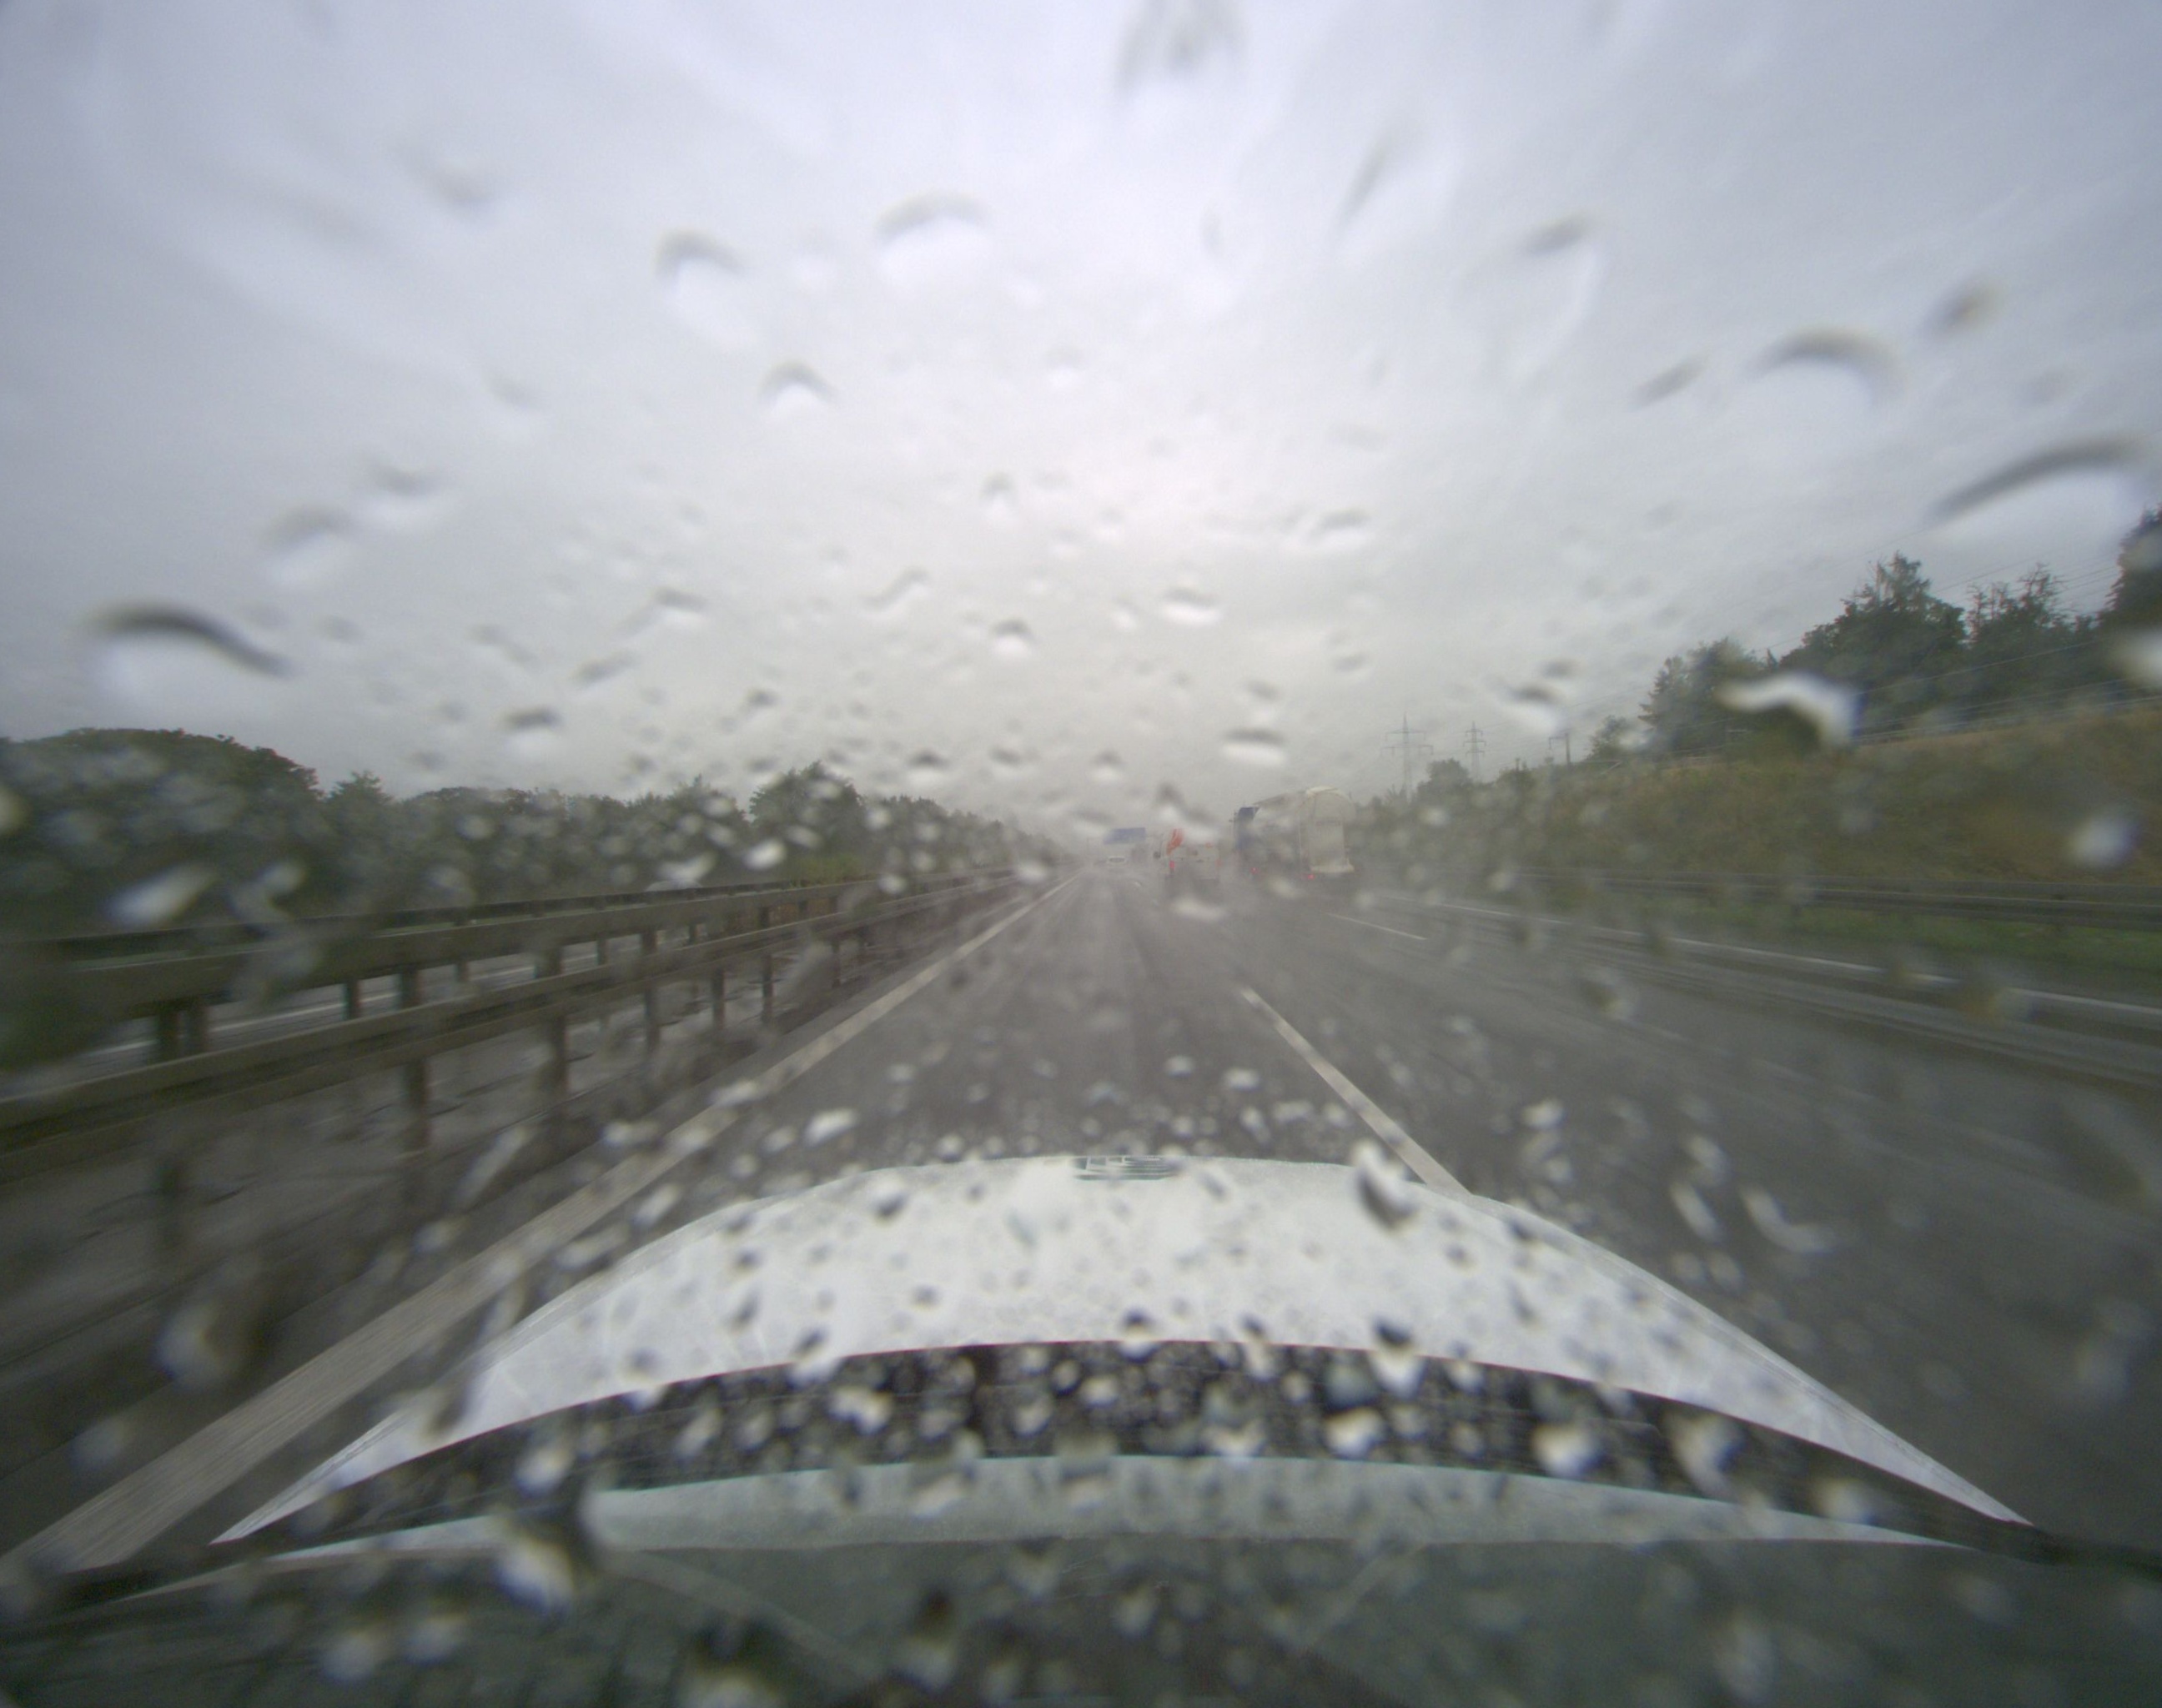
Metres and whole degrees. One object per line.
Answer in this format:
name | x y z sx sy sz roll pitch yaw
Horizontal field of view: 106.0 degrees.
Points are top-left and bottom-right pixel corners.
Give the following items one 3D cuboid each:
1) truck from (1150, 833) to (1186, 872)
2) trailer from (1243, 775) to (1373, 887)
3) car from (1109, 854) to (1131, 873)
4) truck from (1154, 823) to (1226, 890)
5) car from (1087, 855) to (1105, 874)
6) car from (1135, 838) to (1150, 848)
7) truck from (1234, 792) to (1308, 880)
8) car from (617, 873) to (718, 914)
truck | 10.952 -0.056 104.430 3.029 4.588 16.351 -1 -1 1
trailer | 8.993 -0.833 33.874 2.488 3.882 11.068 -1 0 1
car | 2.979 0.715 62.771 1.599 1.338 3.849 -1 0 1
truck | 4.334 0.076 33.369 2.410 2.492 5.563 -1 0 2
car | 1.497 0.982 80.327 1.695 1.818 3.864 -1 0 2
car | 12.438 -2.161 164.461 2.778 2.013 4.994 -1 0 1
truck | 9.108 -0.850 39.598 2.488 3.983 5.076 -1 0 1
car | -17.696 1.642 35.129 1.986 1.512 4.450 -1 0 1
